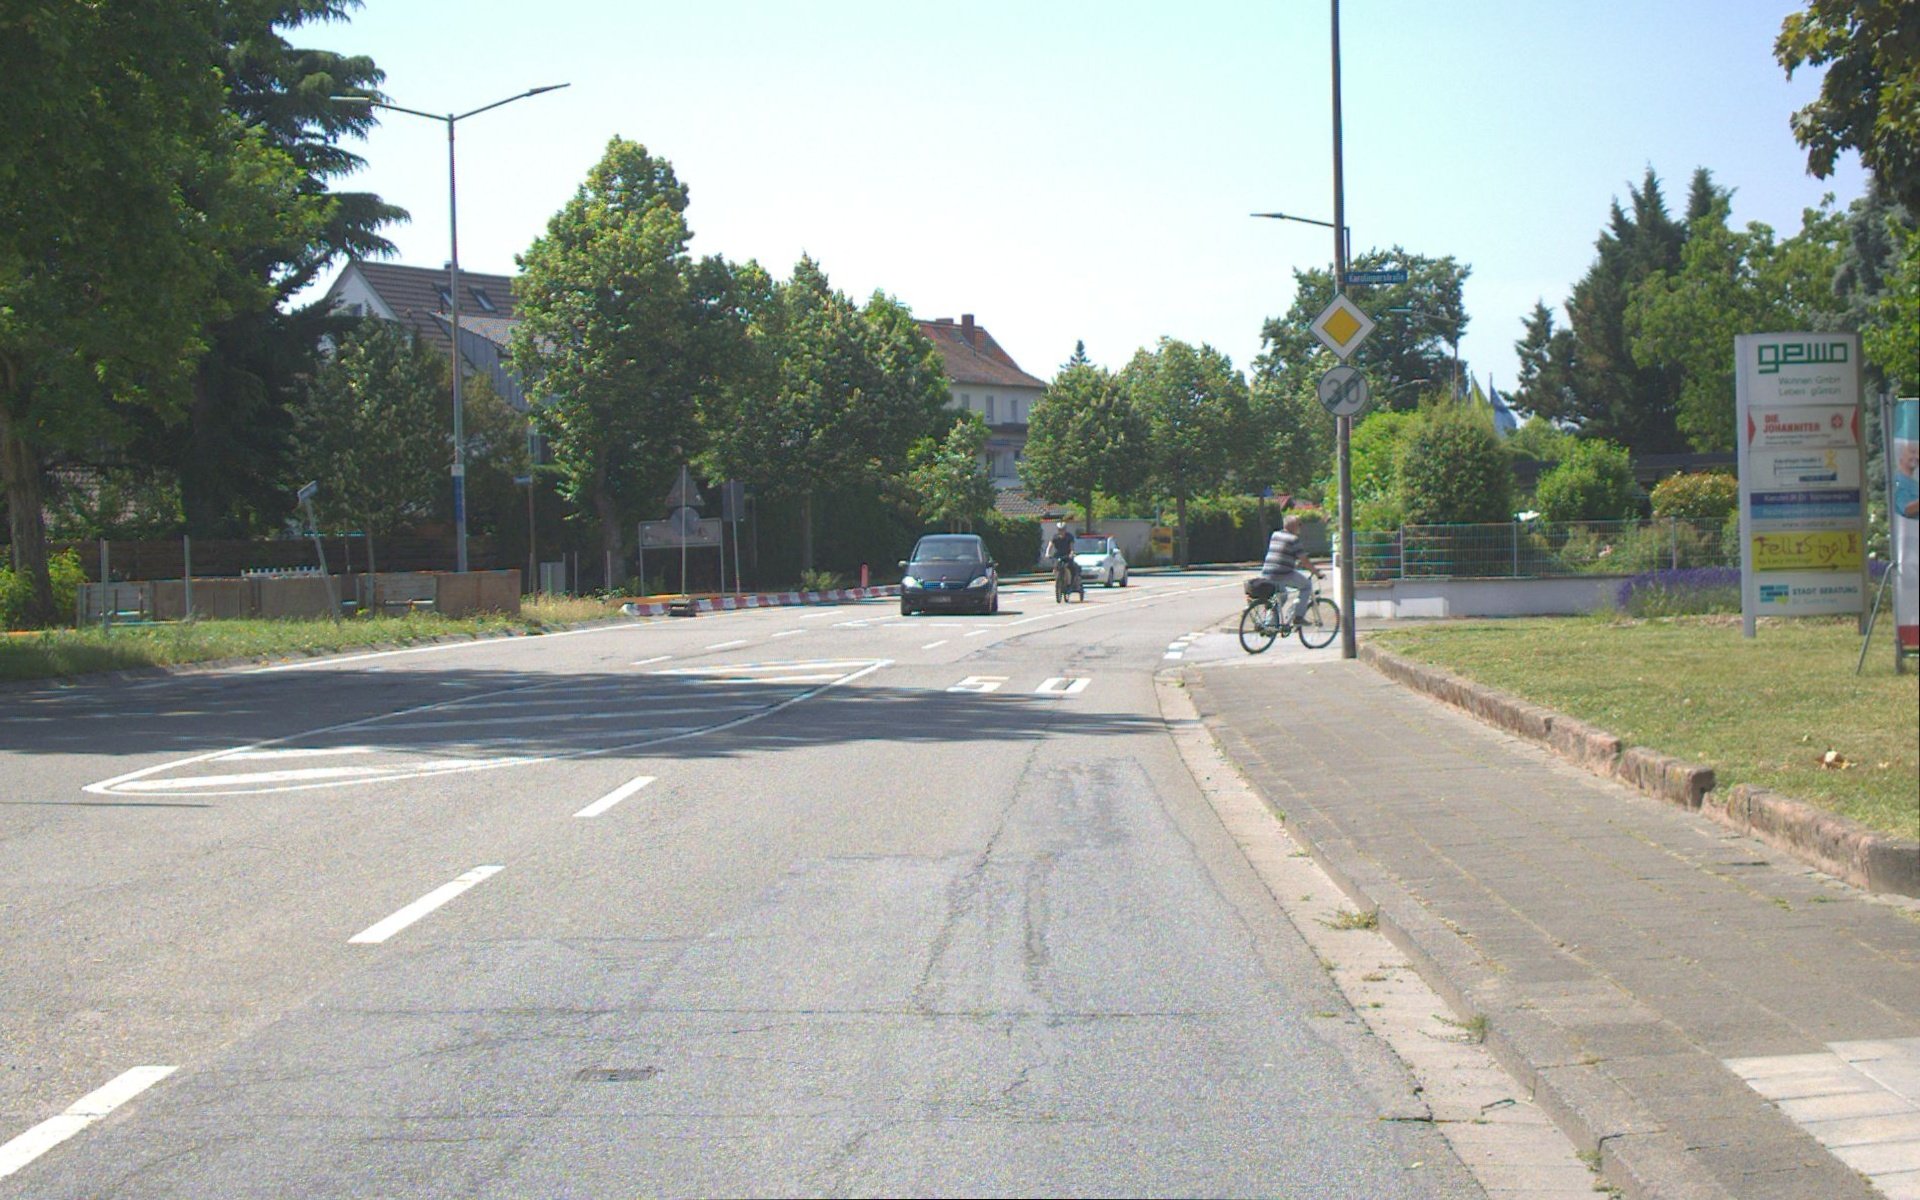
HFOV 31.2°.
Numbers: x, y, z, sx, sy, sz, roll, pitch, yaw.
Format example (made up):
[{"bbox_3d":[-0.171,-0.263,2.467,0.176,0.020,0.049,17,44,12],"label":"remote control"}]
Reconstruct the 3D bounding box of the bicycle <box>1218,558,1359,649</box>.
[{"bbox_3d":[4.297,0.038,44.863,0.815,1.099,2.142,-1,1,37],"label":"bicycle"}]

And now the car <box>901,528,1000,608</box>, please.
[{"bbox_3d":[-0.166,-0.660,68.493,1.725,1.527,3.830,0,1,4],"label":"car"}]

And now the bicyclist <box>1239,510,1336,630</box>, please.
[{"bbox_3d":[4.268,-0.391,44.832,0.855,1.525,0.926,-1,1,37],"label":"bicyclist"}]

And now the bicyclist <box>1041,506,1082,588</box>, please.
[{"bbox_3d":[2.324,-1.210,78.893,0.846,1.859,0.976,0,1,7],"label":"bicyclist"}]

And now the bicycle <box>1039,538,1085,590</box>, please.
[{"bbox_3d":[2.339,-0.833,78.886,0.850,1.162,1.977,-2,0,7],"label":"bicycle"}]

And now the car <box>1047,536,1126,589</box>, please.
[{"bbox_3d":[3.711,-1.116,100.332,1.700,1.505,3.457,1,1,12],"label":"car"}]
